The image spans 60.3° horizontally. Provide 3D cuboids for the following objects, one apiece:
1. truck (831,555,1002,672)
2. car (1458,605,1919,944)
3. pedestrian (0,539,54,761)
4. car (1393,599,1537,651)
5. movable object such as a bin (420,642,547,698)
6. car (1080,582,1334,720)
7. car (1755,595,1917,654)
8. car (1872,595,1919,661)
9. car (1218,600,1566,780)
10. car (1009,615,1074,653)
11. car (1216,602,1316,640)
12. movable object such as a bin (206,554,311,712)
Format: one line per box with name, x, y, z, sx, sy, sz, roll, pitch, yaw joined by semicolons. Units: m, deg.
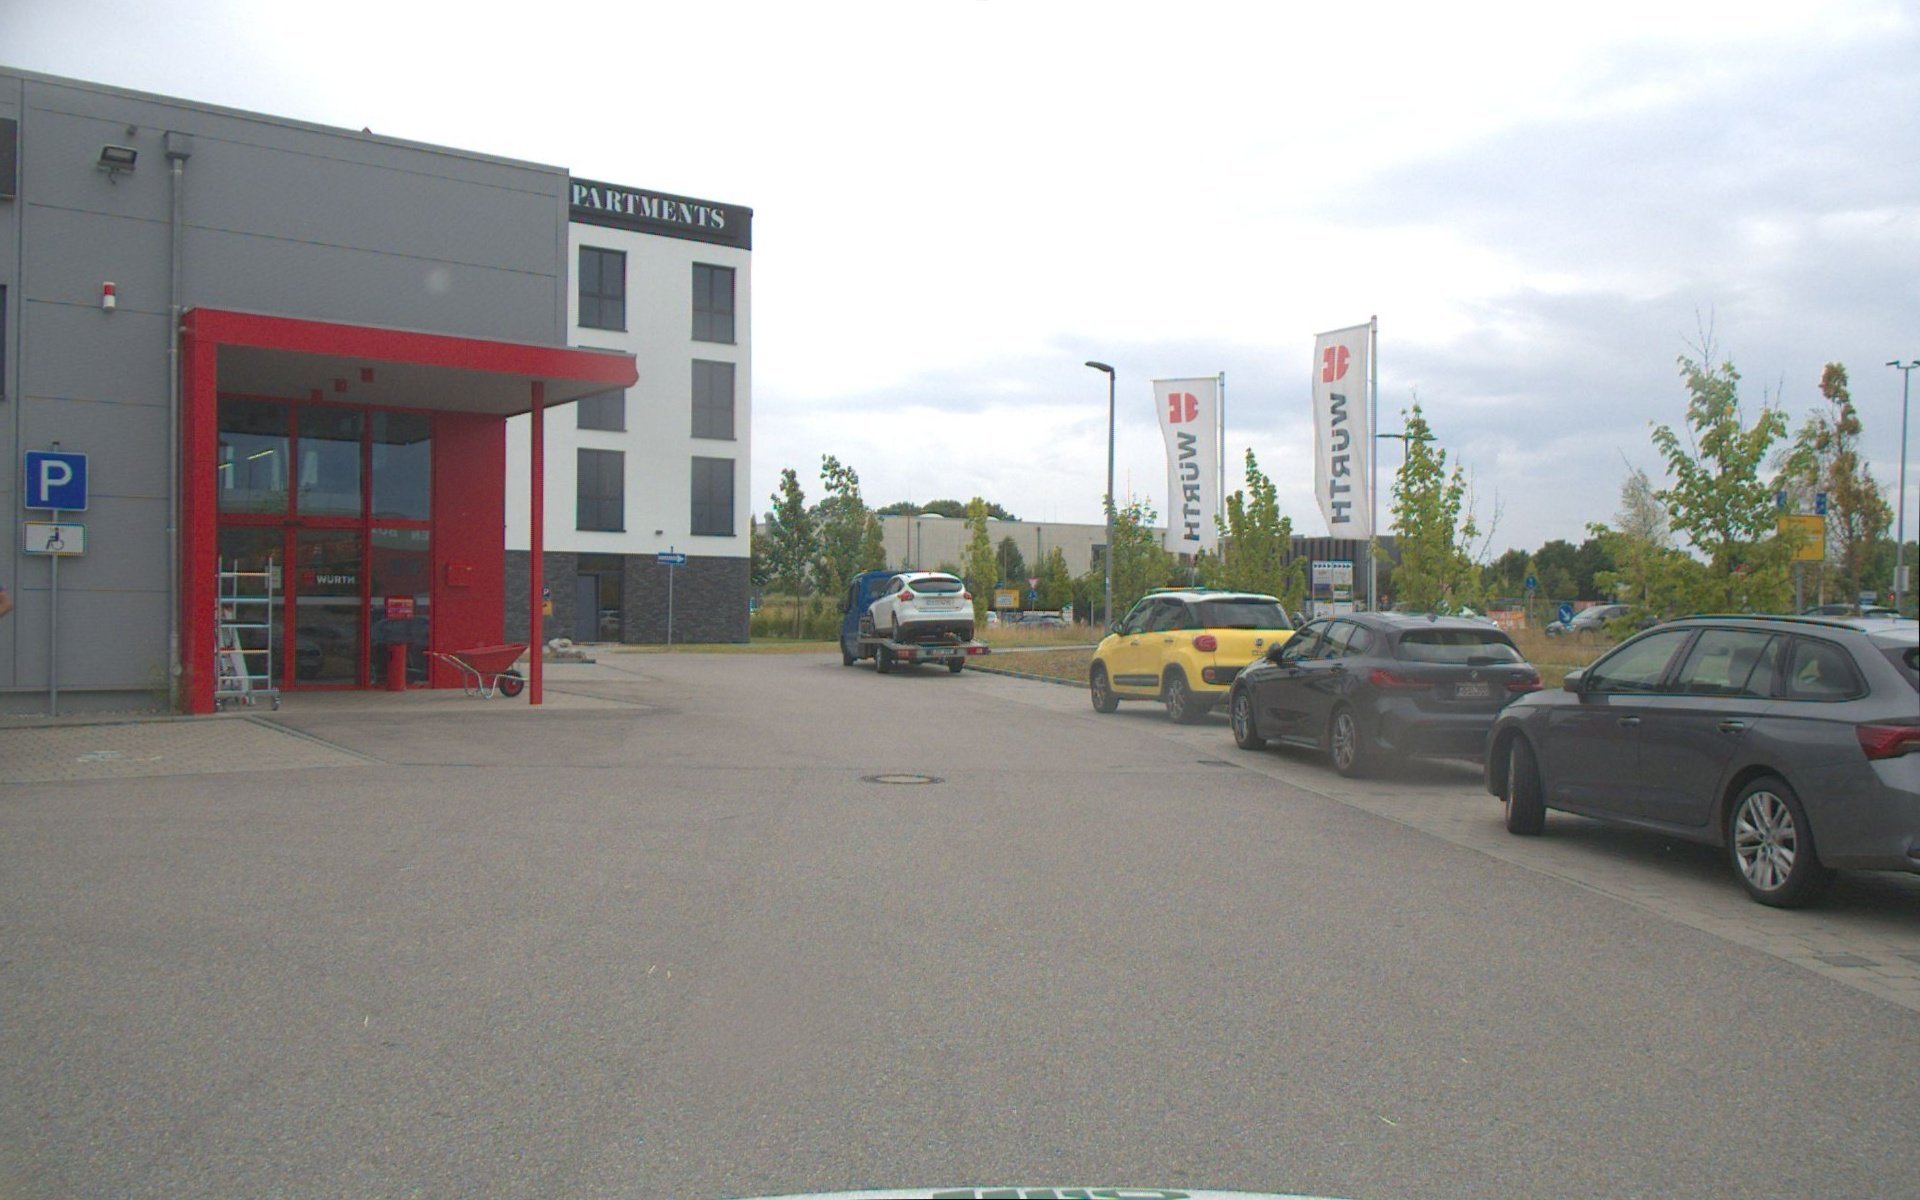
truck;-1.194;0.296;38.478;2.292;2.448;7.865;0;0;-15
car;4.775;0.795;9.752;1.719;1.495;4.466;1;0;-10
pedestrian;-8.226;0.412;13.864;0.663;1.834;0.880;0;0;25
car;14.633;0.696;48.202;1.736;1.419;4.535;0;0;-18
movable object such as a bin;-6.441;0.940;22.363;1.472;0.716;0.955;1;-1;-30
car;3.213;0.654;22.334;1.827;1.679;3.980;2;-1;-18
car;23.321;0.624;44.188;1.628;1.485;3.906;-1;0;-14
car;21.930;0.603;34.980;1.739;1.419;4.525;0;0;-24
car;3.973;0.762;15.965;1.719;1.495;4.098;1;0;-10
car;4.313;1.799;88.290;1.966;1.892;3.972;-1;0;-23
car;12.918;0.880;70.068;1.901;1.512;4.383;-1;0;-26
movable object such as a bin;-7.926;0.355;18.686;0.903;1.701;0.734;-3;2;-36
